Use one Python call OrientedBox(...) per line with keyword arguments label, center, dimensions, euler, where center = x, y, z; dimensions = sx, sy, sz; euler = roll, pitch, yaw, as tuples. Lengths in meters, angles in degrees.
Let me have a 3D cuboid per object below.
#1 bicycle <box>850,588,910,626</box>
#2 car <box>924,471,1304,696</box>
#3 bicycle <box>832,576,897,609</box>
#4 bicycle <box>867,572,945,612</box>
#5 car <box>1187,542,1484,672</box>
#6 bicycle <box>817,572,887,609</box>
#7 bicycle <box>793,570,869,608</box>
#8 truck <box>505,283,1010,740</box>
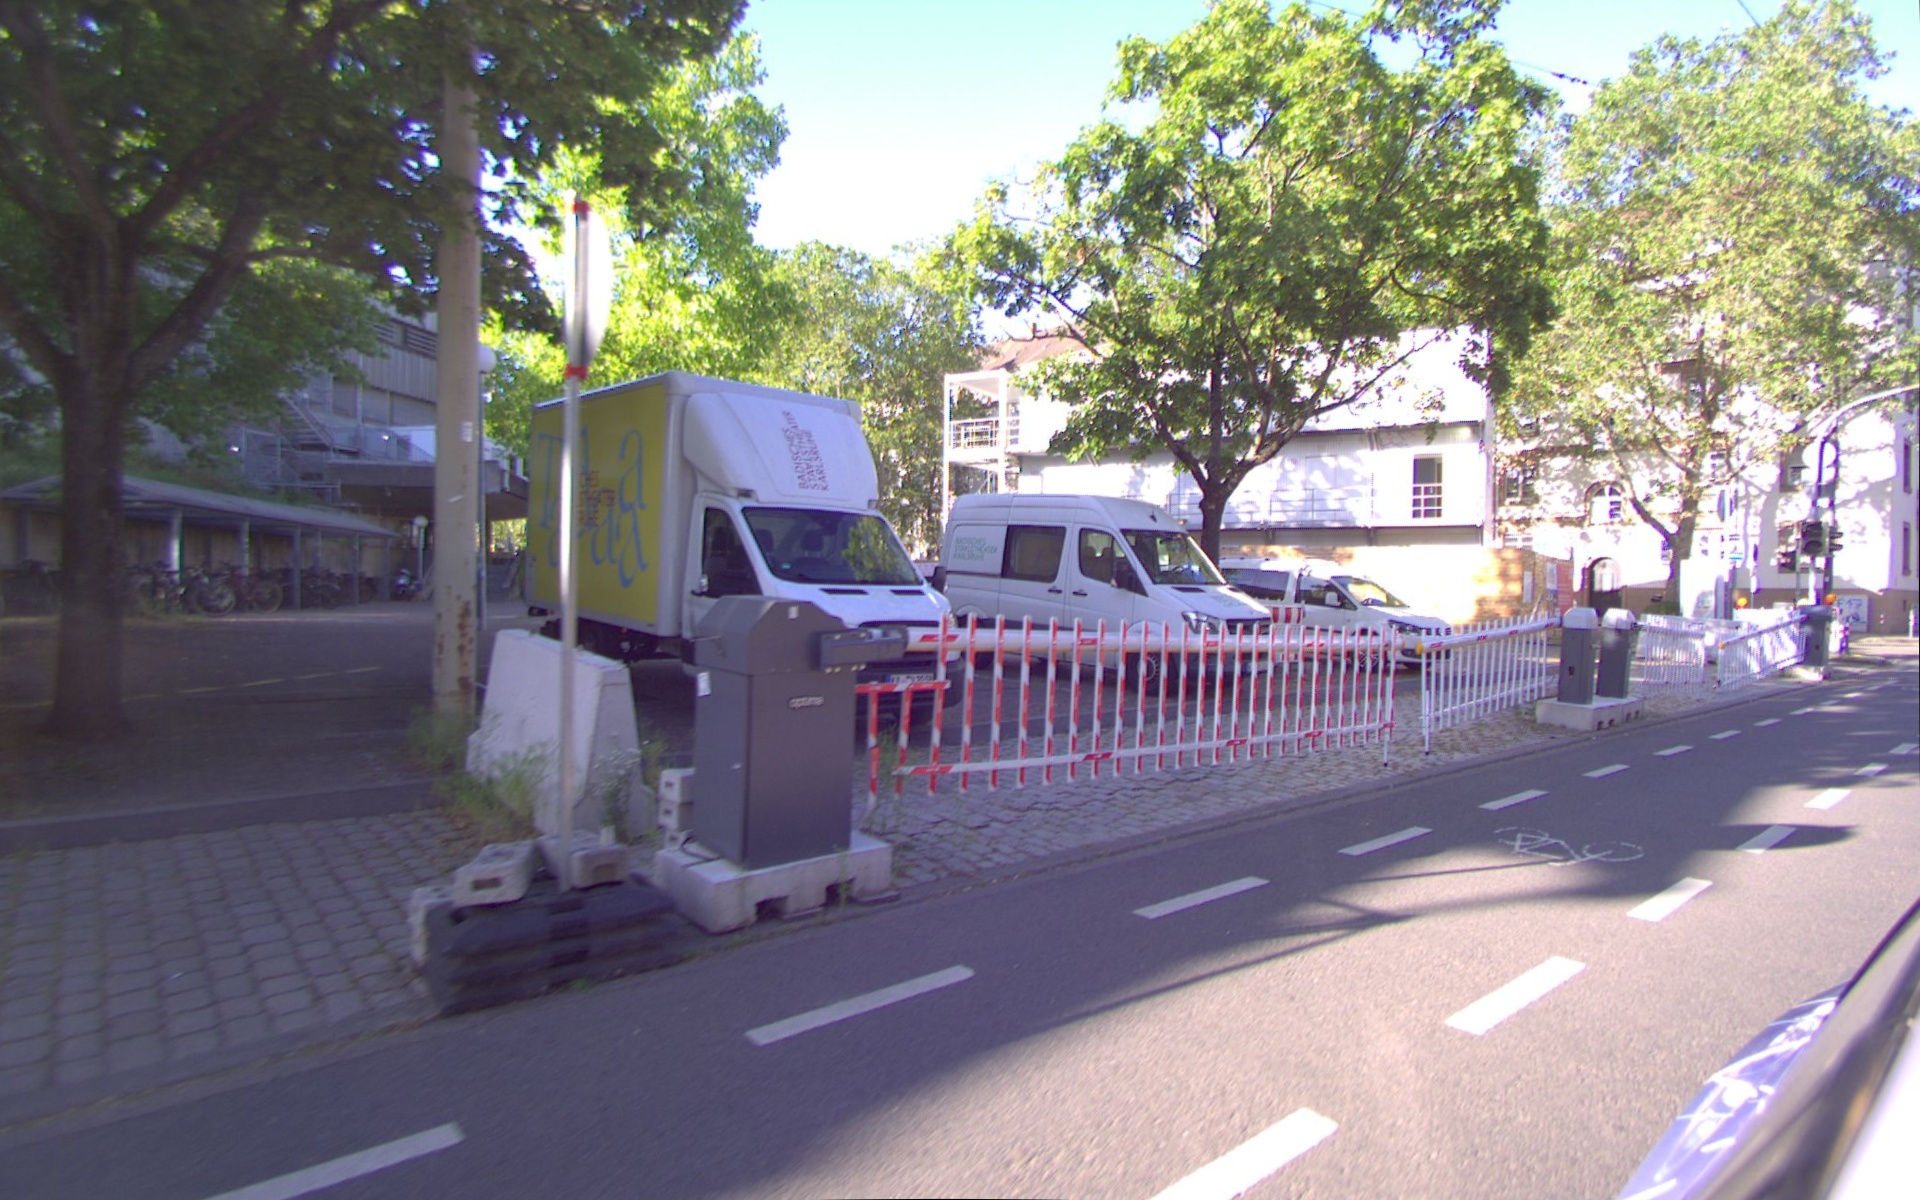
OrientedBox(label="bicycle", center=(-2.786, 0.234, 35.305), dimensions=(2.293, 1.300, 0.507), euler=(0, 1, -44))
OrientedBox(label="car", center=(1.920, -0.278, 14.337), dimensions=(1.978, 2.594, 5.333), euler=(-1, 2, -40))
OrientedBox(label="bicycle", center=(-3.333, -0.277, 35.630), dimensions=(2.508, 1.109, 0.507), euler=(0, 1, -44))
OrientedBox(label="bicycle", center=(-1.824, -0.275, 34.517), dimensions=(2.804, 1.316, 0.702), euler=(0, 1, -40))
OrientedBox(label="car", center=(6.609, 0.071, 18.360), dimensions=(1.962, 2.035, 4.798), euler=(0, 1, -35))
OrientedBox(label="bicycle", center=(-3.839, -0.344, 36.077), dimensions=(2.614, 1.241, 0.701), euler=(0, 2, -44))
OrientedBox(label="bicycle", center=(-4.654, -0.388, 36.653), dimensions=(2.804, 1.316, 0.702), euler=(0, 1, -40))
OrientedBox(label="truck", center=(-2.719, -0.777, 11.144), dimensions=(2.330, 3.461, 7.089), euler=(-1, 2, -40))
